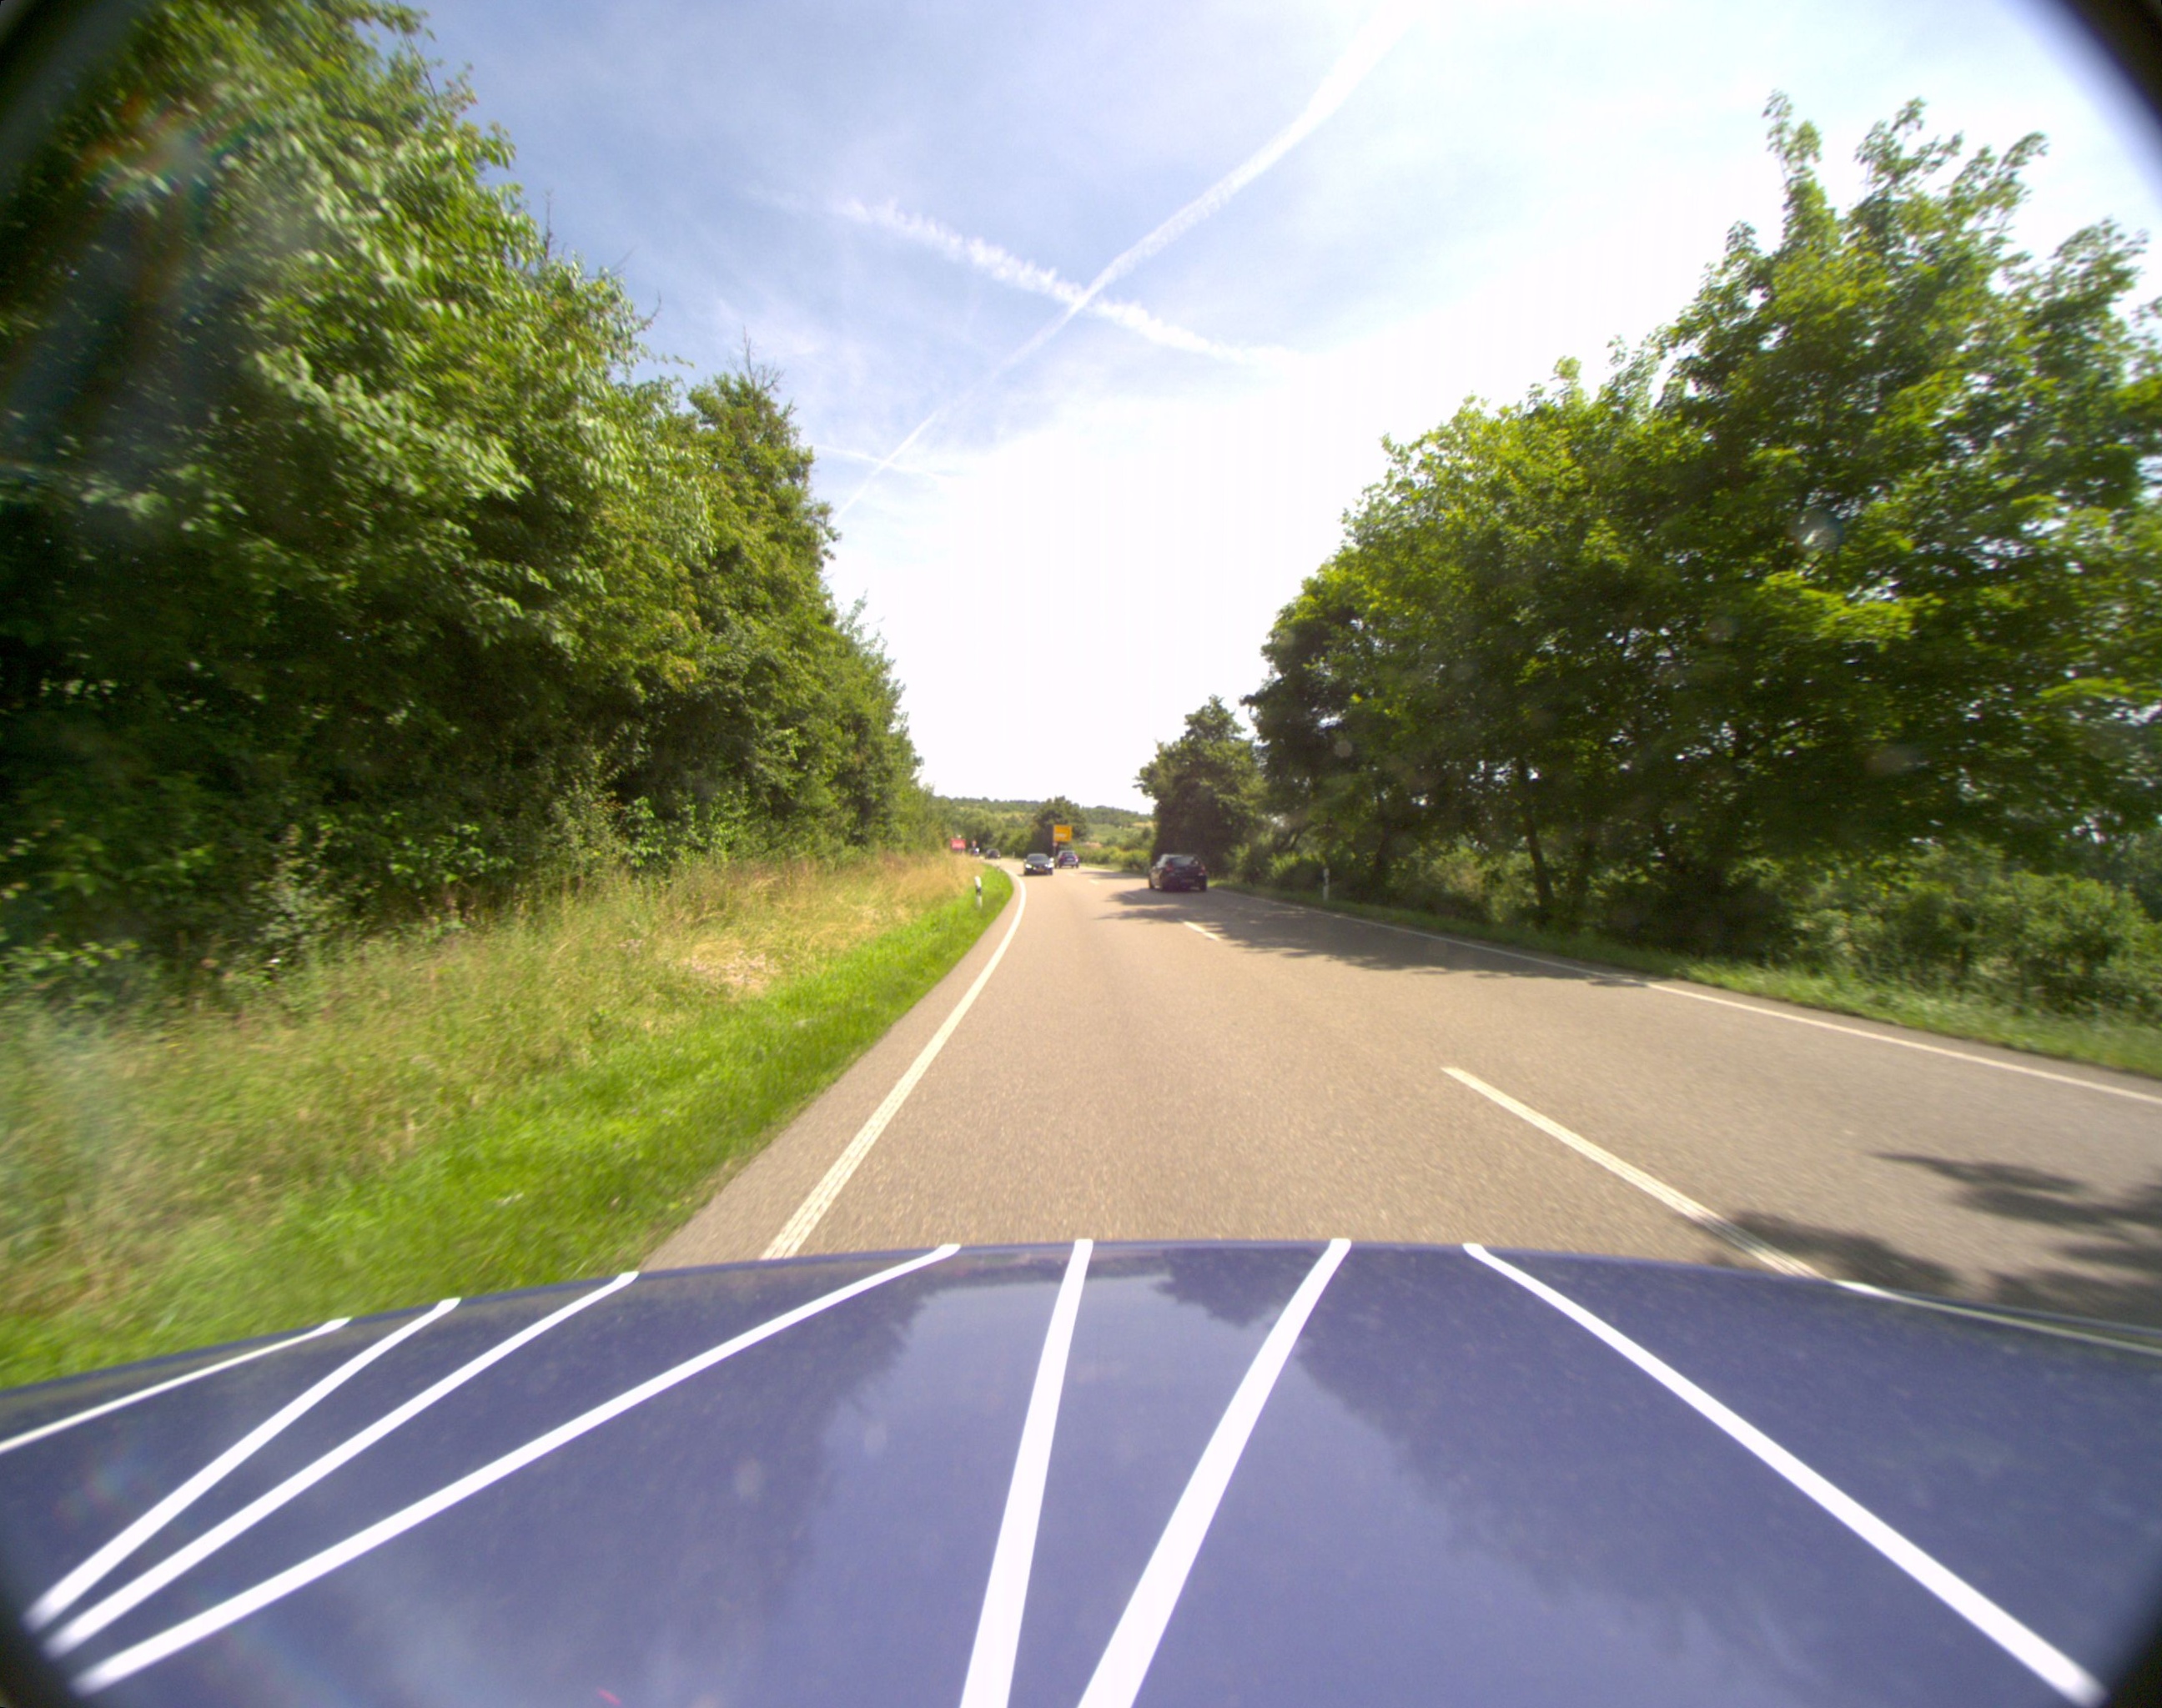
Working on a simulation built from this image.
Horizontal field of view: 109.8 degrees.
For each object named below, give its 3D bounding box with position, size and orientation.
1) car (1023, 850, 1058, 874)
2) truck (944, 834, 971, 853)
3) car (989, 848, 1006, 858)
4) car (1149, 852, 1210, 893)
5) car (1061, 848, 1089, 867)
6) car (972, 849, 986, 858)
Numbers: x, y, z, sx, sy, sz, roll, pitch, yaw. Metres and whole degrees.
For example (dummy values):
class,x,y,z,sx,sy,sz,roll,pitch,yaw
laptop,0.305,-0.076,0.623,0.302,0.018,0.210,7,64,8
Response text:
class,x,y,z,sx,sy,sz,roll,pitch,yaw
car,-2.805,0.527,51.744,1.787,1.440,4.600,-3,1,-9
truck,-23.887,-2.006,146.435,2.563,3.432,12.610,-1,0,-22
car,-12.435,-0.150,112.727,1.716,1.462,4.368,-1,1,-17
car,3.755,0.672,29.613,1.763,1.423,4.269,-1,0,-1
car,-0.539,0.264,62.485,1.675,1.522,3.954,-1,1,-10
car,-17.344,-0.157,128.938,1.436,1.462,3.265,-1,1,-23
